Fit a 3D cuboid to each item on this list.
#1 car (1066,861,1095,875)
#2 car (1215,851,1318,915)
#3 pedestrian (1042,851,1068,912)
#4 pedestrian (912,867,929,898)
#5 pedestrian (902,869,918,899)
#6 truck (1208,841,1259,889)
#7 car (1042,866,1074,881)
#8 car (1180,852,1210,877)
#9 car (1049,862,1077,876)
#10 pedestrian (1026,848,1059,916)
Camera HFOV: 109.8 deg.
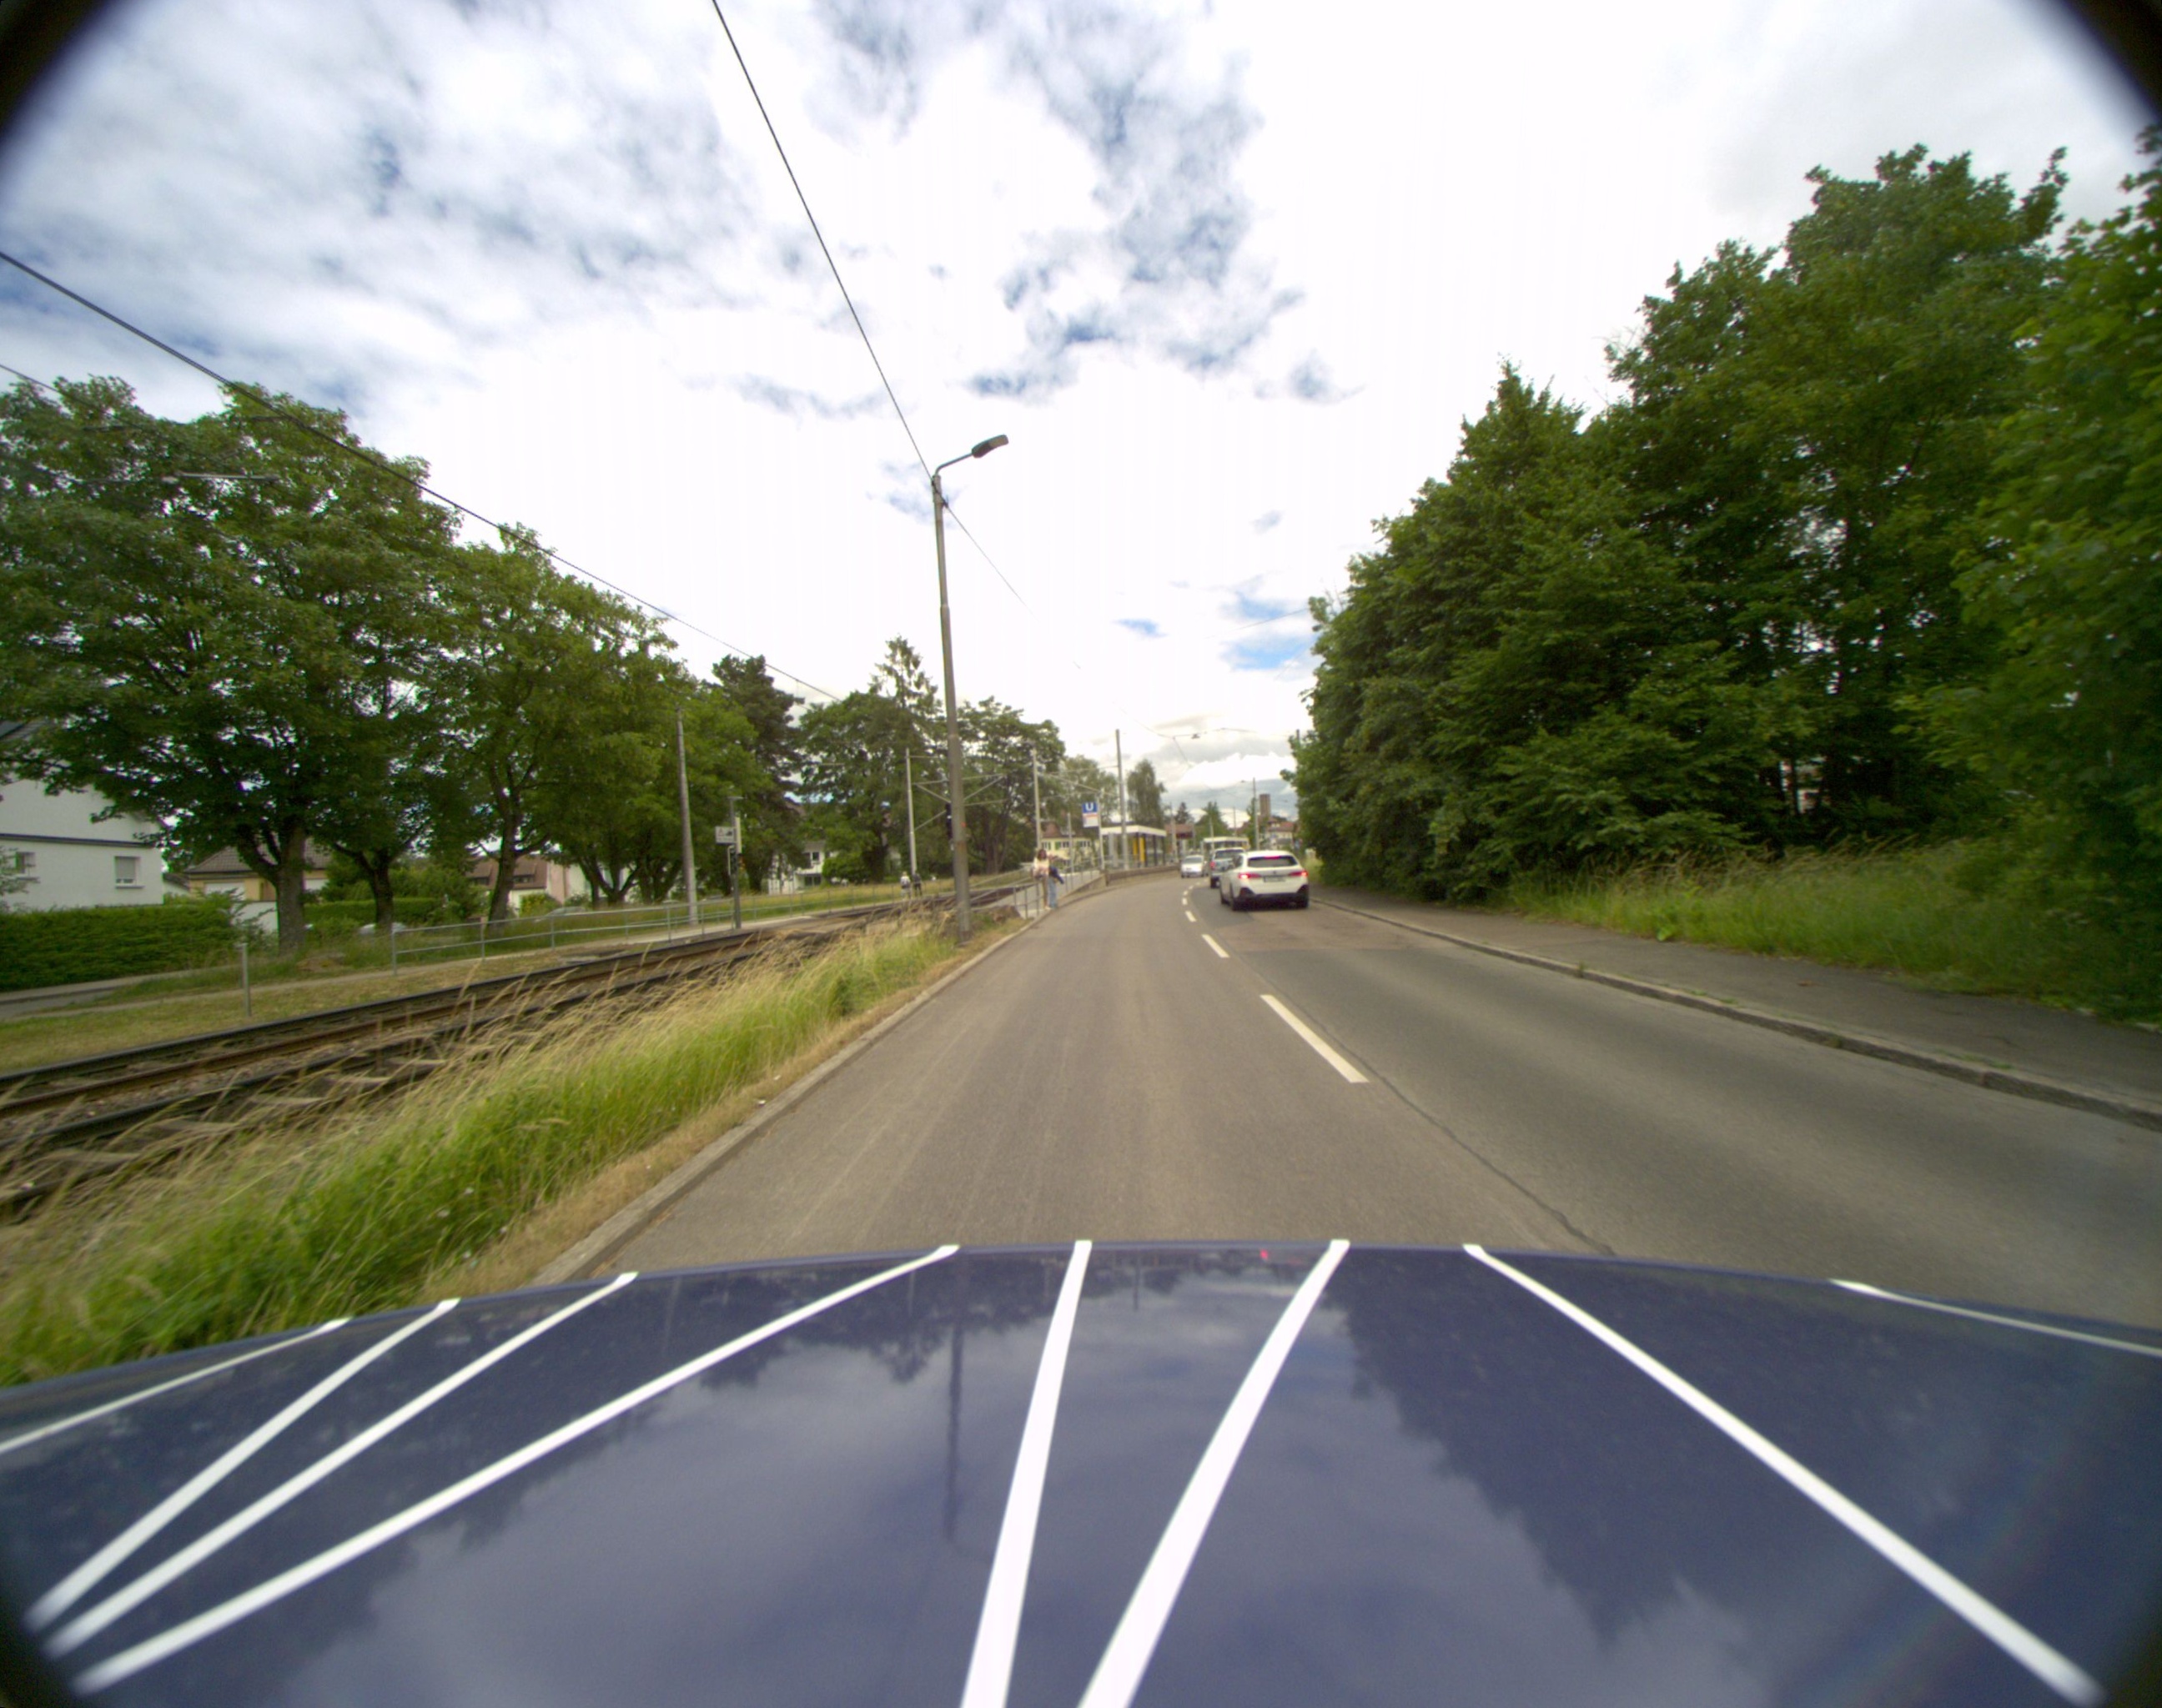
[{"bbox_3d":[-0.005,1.652,88.874,1.996,1.340,4.006,-4,-1,21],"label":"car"},{"bbox_3d":[4.857,0.693,20.559,1.934,1.513,4.660,-1,0,4],"label":"car"},{"bbox_3d":[-0.772,0.804,22.393,0.475,1.719,0.799,-5,3,-16],"label":"pedestrian"},{"bbox_3d":[-8.665,1.540,41.094,0.493,1.612,0.791,-4,0,11],"label":"pedestrian"},{"bbox_3d":[-9.271,1.621,41.165,0.493,1.552,0.693,-4,0,11],"label":"pedestrian"},{"bbox_3d":[6.987,0.457,35.236,1.852,1.954,4.961,-3,0,7],"label":"truck"},{"bbox_3d":[-2.546,2.120,84.194,1.996,1.340,4.006,-4,-1,21],"label":"car"},{"bbox_3d":[8.500,0.738,56.438,1.732,1.639,4.230,-4,-1,14],"label":"car"},{"bbox_3d":[-2.718,2.239,117.226,1.995,1.851,4.243,-5,-1,36],"label":"car"},{"bbox_3d":[-1.082,0.768,21.171,0.661,1.830,0.596,-5,3,-15],"label":"pedestrian"}]
